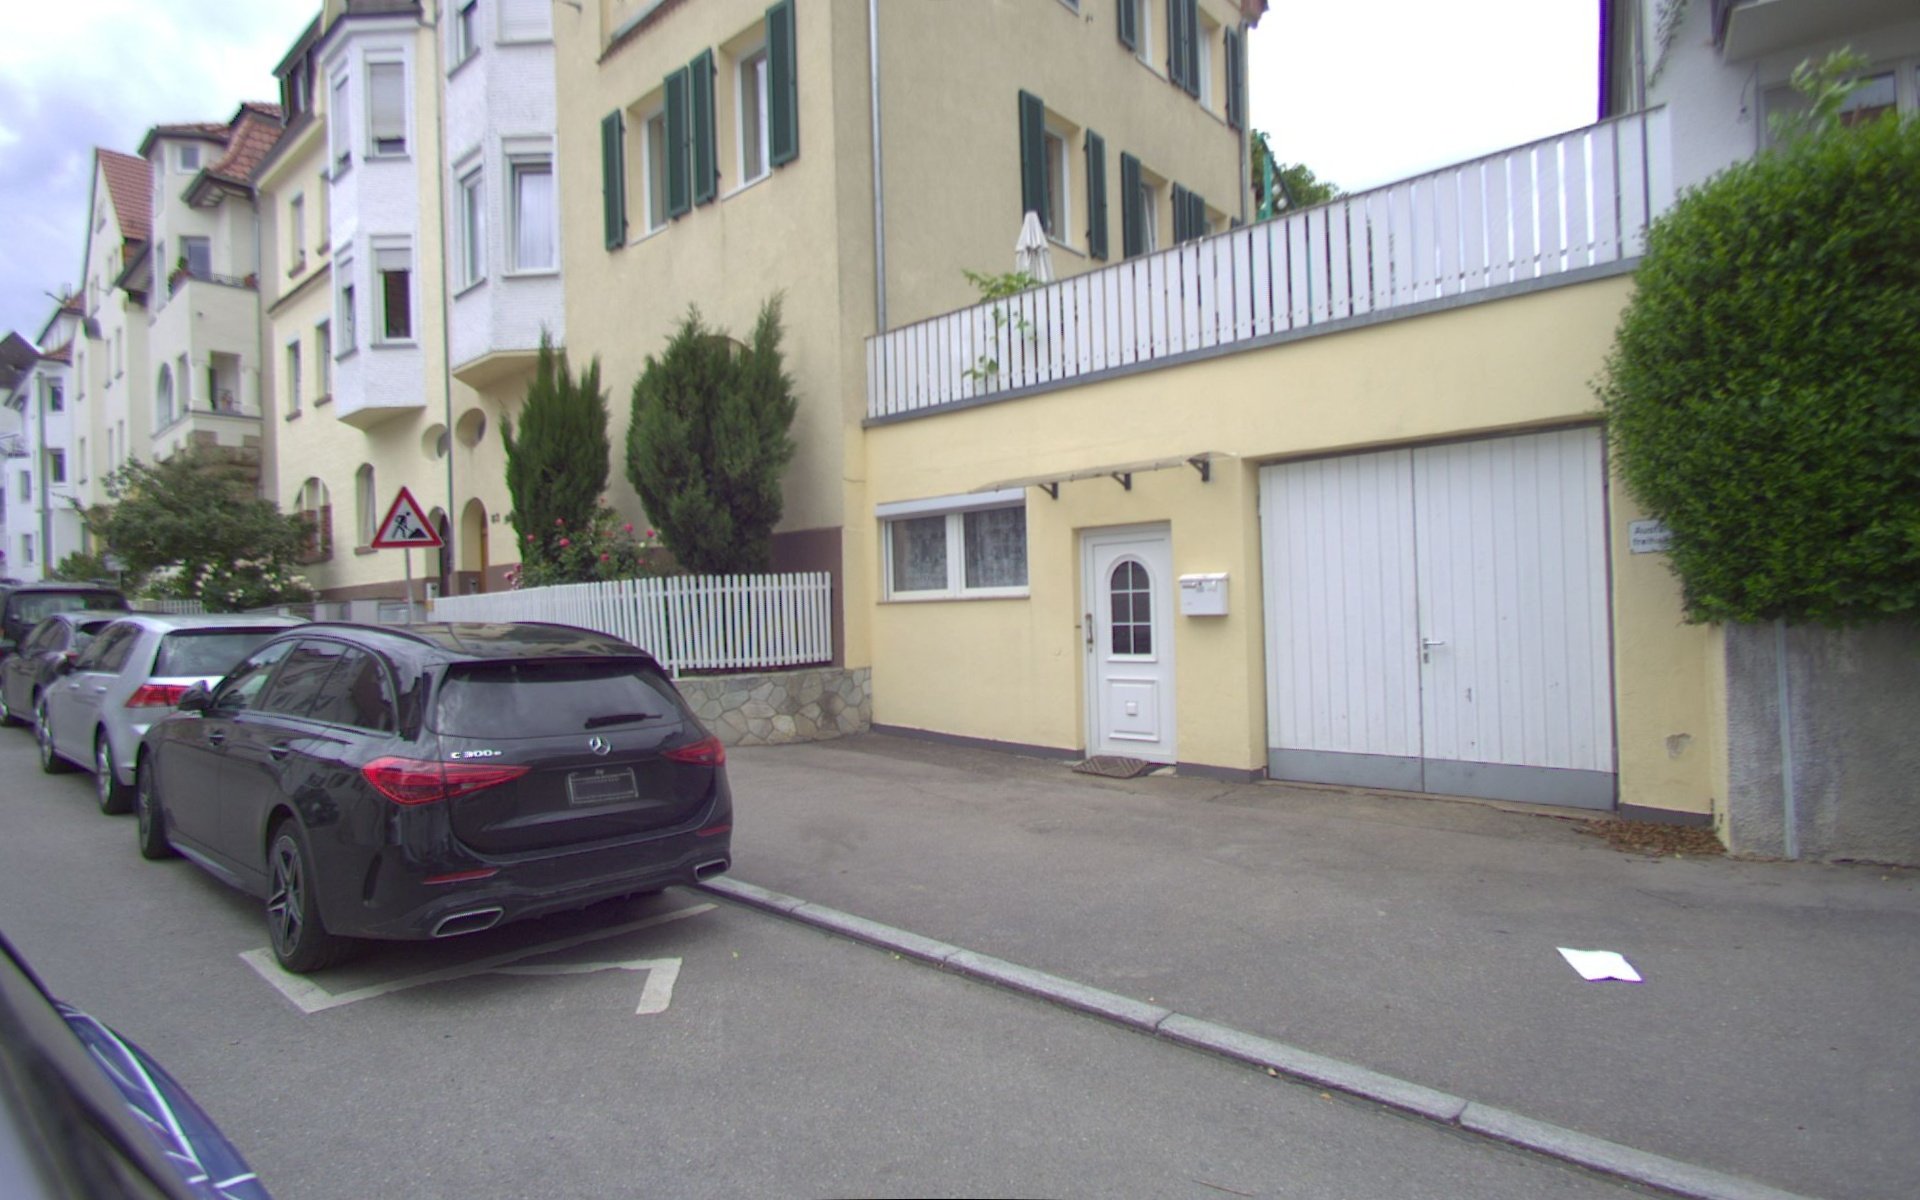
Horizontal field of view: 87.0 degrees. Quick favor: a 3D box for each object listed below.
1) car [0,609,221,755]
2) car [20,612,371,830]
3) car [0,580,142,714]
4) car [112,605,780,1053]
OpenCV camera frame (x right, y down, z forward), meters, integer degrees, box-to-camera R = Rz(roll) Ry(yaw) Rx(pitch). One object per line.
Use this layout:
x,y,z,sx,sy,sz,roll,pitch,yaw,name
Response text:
-10.203,0.846,11.923,3.701,1.409,1.621,0,-1,41,car
-6.773,0.837,8.798,4.121,1.439,1.622,0,-1,41,car
-14.160,0.627,15.485,4.145,1.810,1.732,0,0,39,car
-3.057,0.794,5.524,4.327,1.491,1.784,-1,0,41,car
